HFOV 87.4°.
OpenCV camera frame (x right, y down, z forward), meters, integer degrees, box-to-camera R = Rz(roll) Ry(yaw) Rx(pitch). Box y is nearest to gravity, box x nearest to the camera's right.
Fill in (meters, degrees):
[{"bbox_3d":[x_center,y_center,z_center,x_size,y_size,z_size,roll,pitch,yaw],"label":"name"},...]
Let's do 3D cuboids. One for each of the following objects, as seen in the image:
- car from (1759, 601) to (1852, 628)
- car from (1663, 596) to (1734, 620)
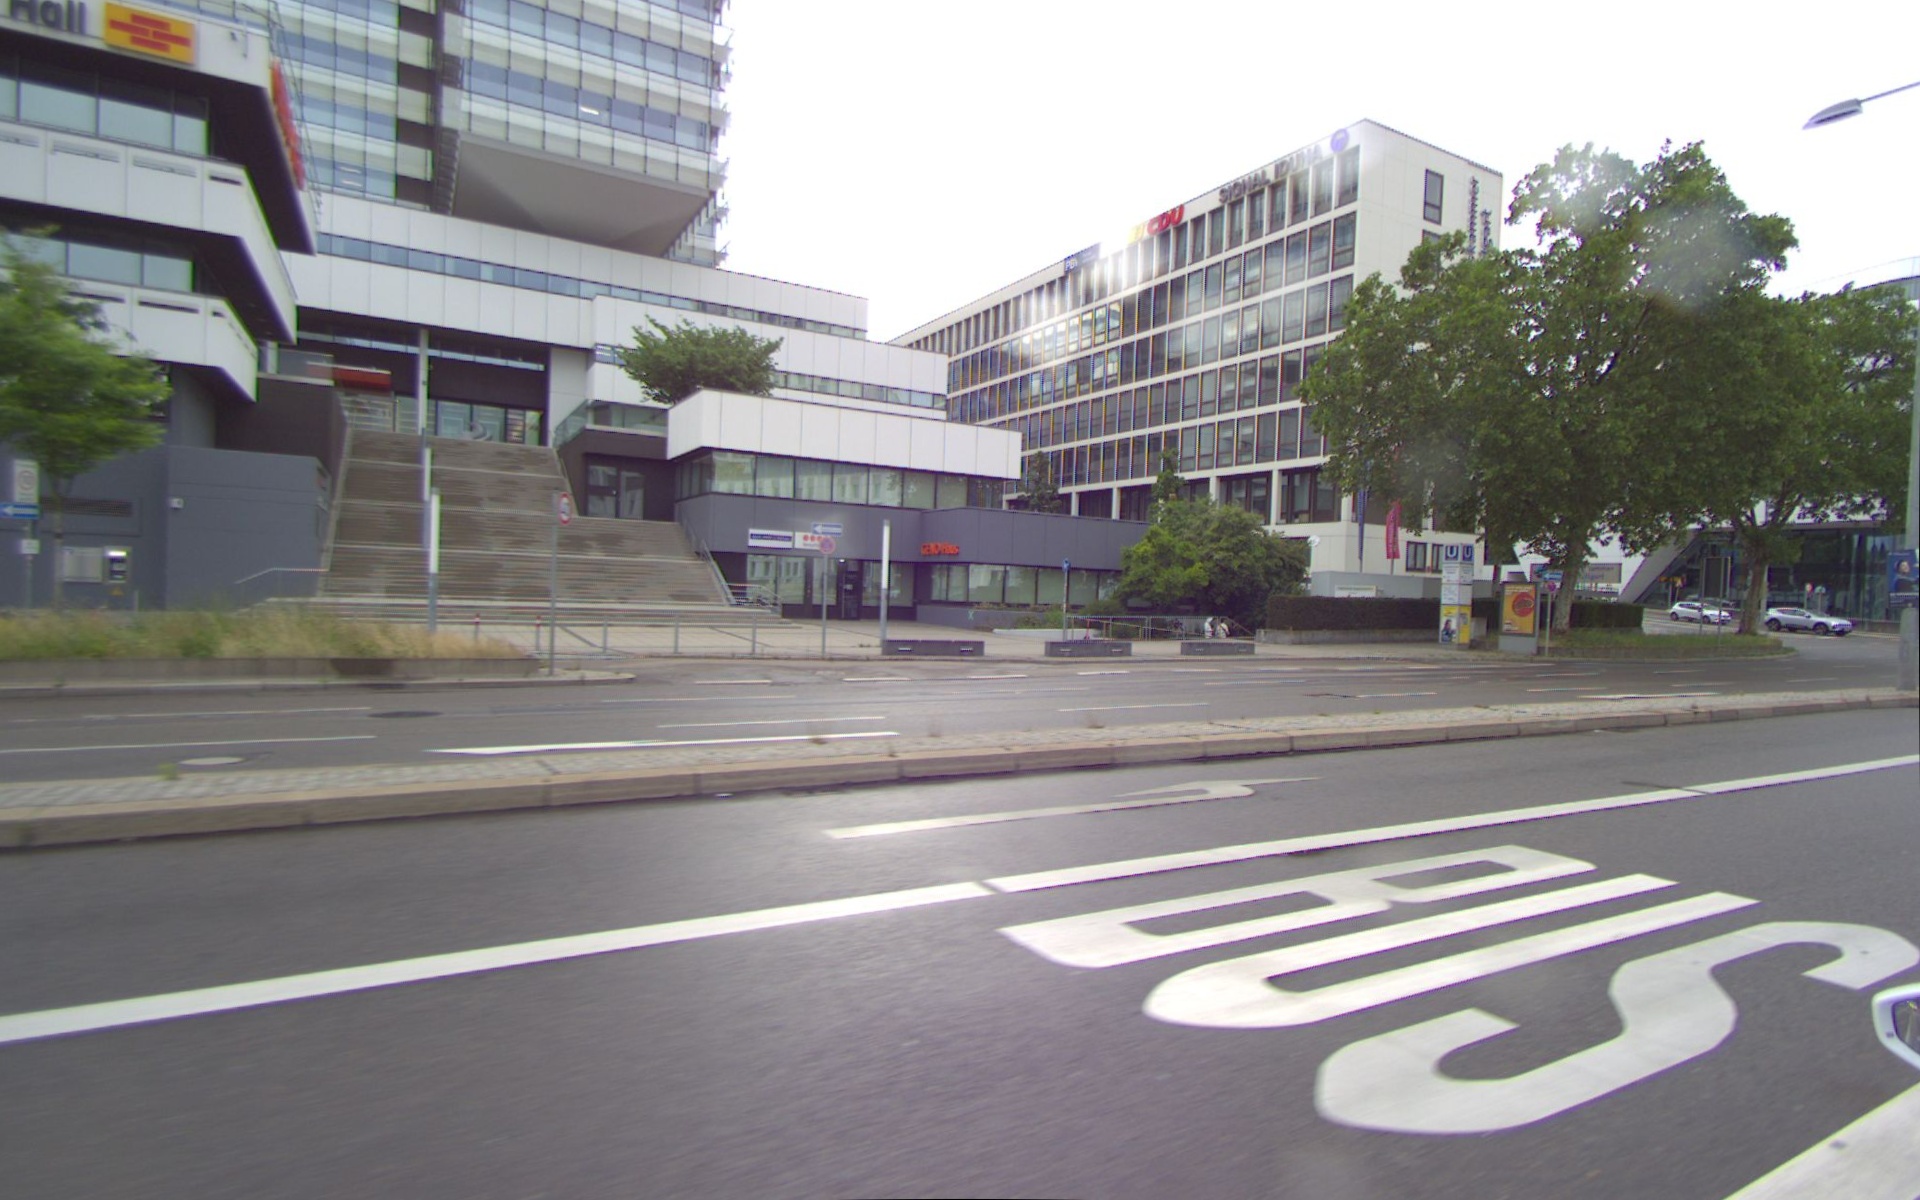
[{"bbox_3d":[56.326,0.919,66.992,1.862,1.653,4.505,2,0,-13],"label":"car"},{"bbox_3d":[54.967,0.597,74.827,1.862,1.653,3.990,2,0,-13],"label":"car"}]
